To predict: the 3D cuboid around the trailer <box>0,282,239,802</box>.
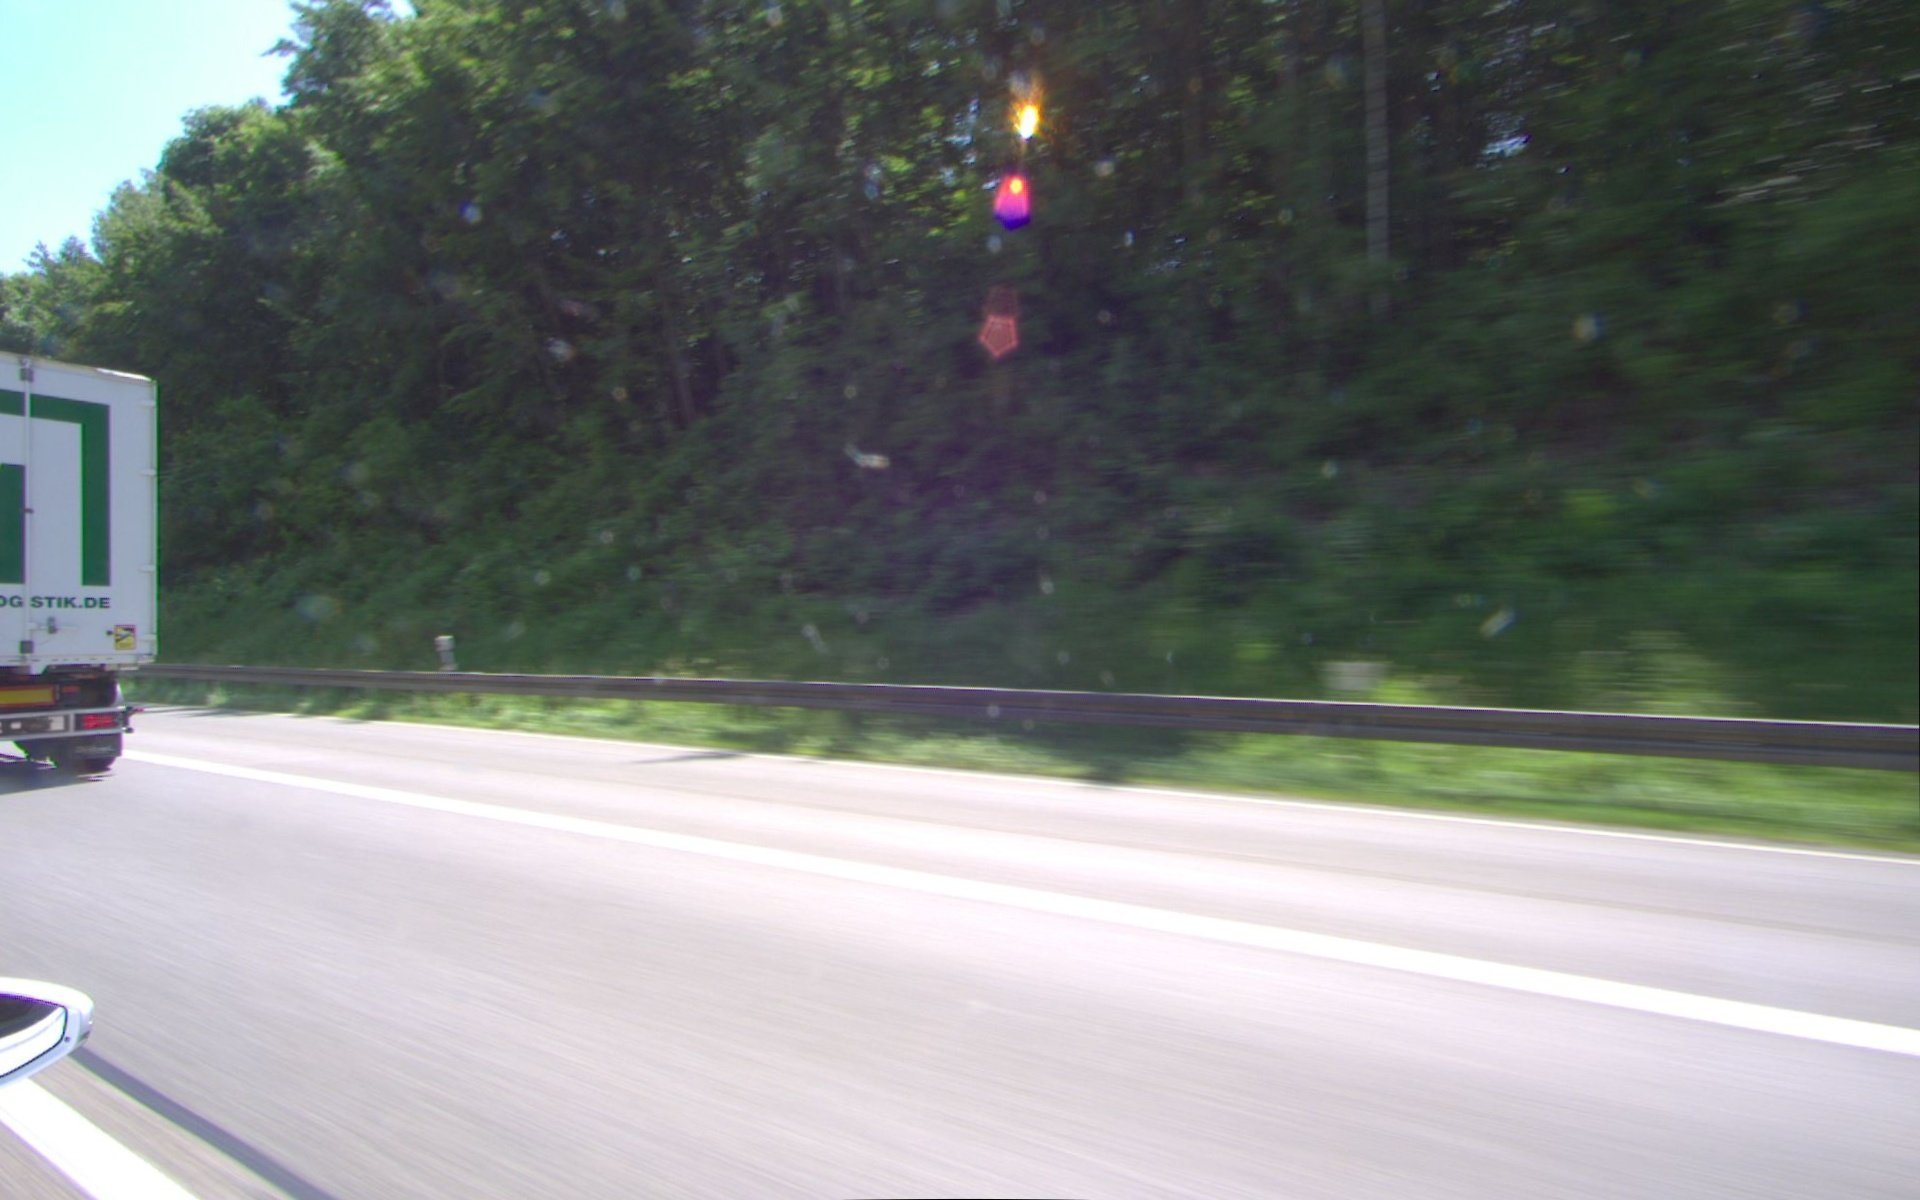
[{"bbox_3d":[-11.812,-0.377,11.116,9.921,4.229,2.675,-1,-1,32],"label":"trailer"}]
